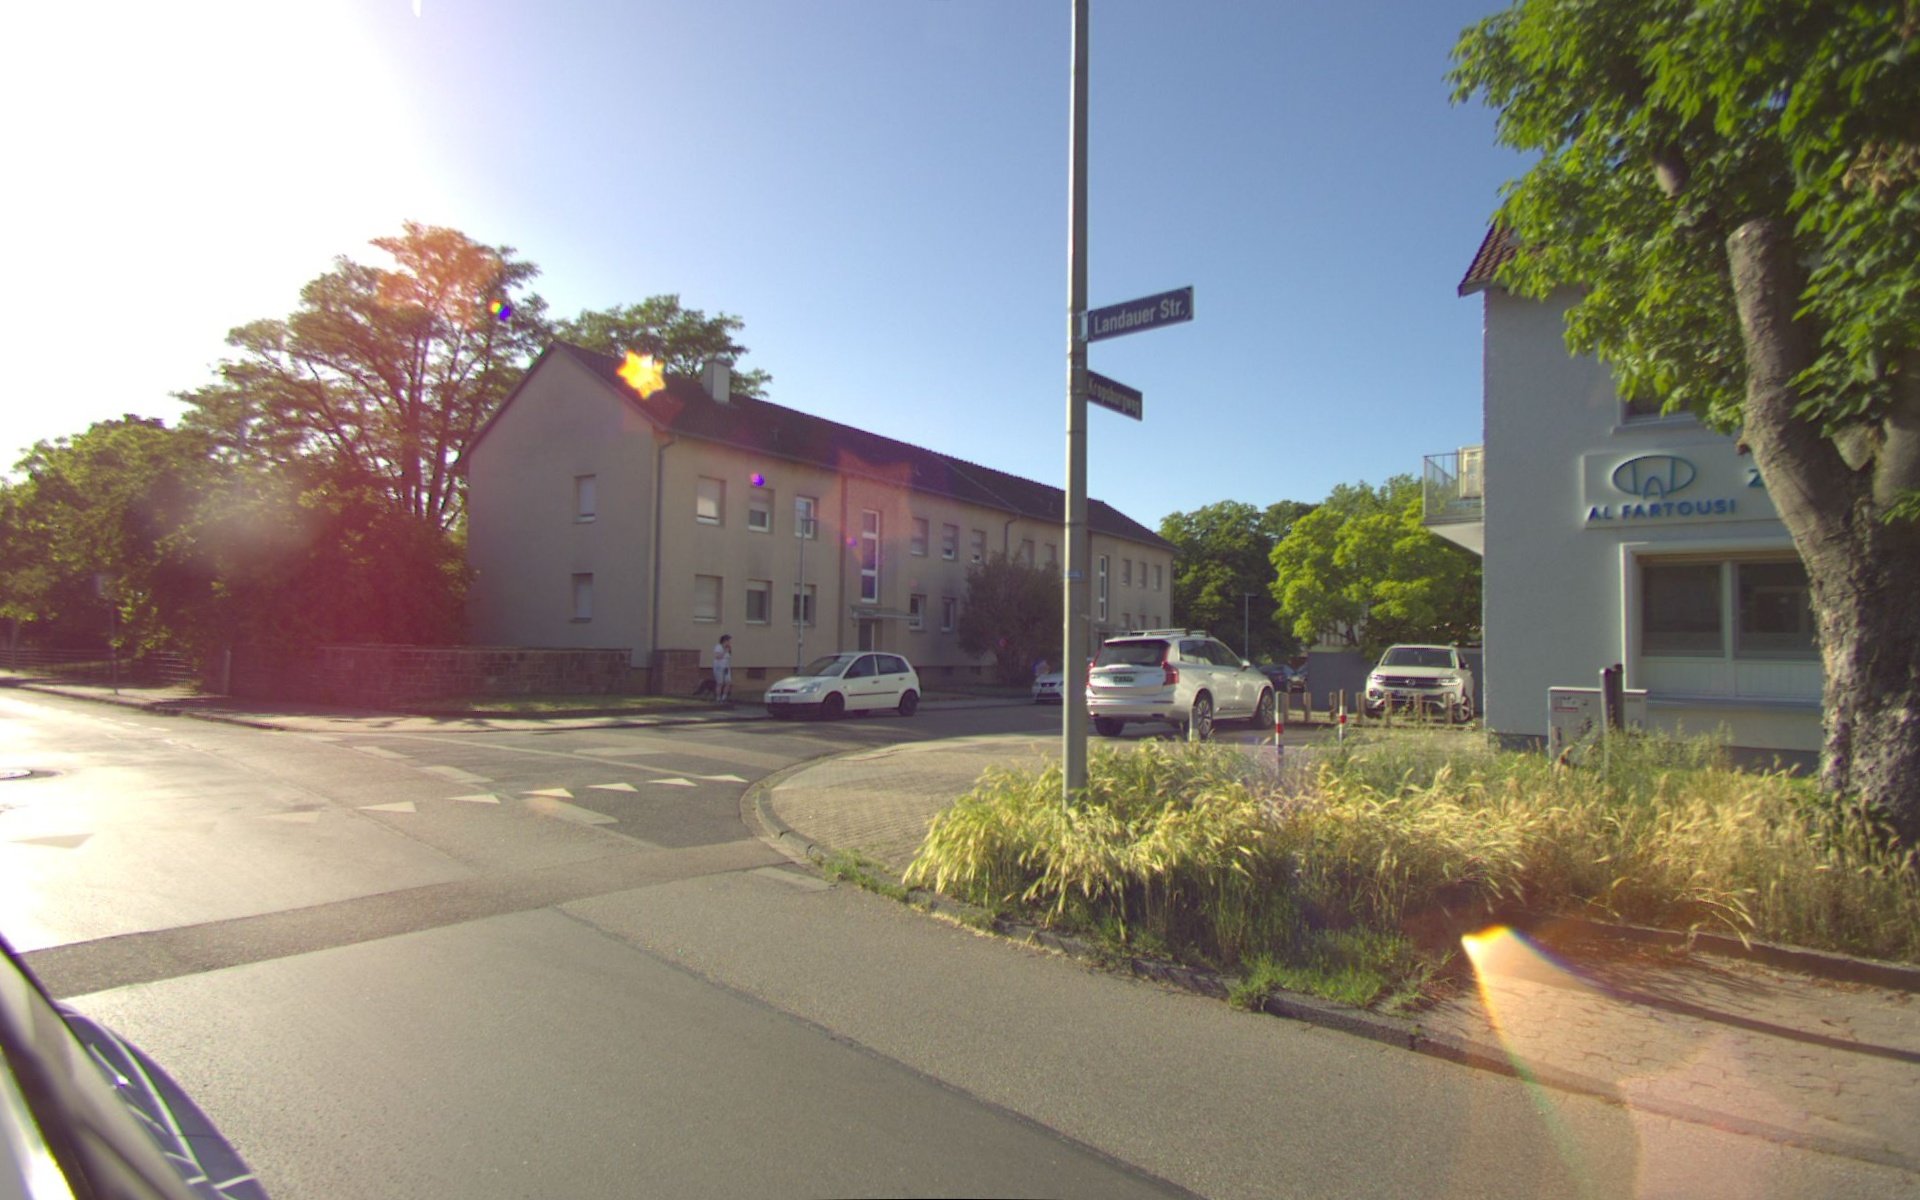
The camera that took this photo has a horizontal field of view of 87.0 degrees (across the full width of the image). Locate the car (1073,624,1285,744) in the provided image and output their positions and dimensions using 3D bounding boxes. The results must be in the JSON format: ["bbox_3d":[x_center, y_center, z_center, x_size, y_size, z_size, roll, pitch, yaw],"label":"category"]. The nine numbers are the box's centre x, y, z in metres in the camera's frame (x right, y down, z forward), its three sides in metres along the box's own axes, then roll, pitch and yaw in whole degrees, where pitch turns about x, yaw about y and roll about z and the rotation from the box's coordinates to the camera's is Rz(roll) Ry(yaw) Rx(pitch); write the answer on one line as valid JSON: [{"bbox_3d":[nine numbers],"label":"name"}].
[{"bbox_3d":[4.031,1.486,18.105,1.996,1.852,4.448,-5,-6,36],"label":"car"}]

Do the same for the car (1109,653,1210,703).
[{"bbox_3d":[6.987,2.706,35.258,1.869,1.626,3.728,-4,-5,39],"label":"car"}]

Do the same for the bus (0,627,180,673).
[{"bbox_3d":[-64.371,3.615,73.439,12.279,3.122,3.136,1,-3,-39],"label":"bus"}]

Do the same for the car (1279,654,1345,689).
[{"bbox_3d":[17.333,3.513,49.755,1.869,1.626,3.728,-4,-5,39],"label":"car"}]

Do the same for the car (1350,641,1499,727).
[{"bbox_3d":[9.668,1.751,20.893,1.995,1.567,4.461,-3,-6,35],"label":"car"}]

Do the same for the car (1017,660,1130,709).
[{"bbox_3d":[3.534,2.570,31.101,1.866,1.407,3.733,-3,-5,35],"label":"car"}]

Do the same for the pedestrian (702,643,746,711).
[{"bbox_3d":[-5.608,1.816,24.072,0.638,1.565,0.776,-3,-3,36],"label":"pedestrian"}]

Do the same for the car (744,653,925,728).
[{"bbox_3d":[-2.660,1.946,22.112,1.868,1.490,3.731,-4,-5,37],"label":"car"}]
